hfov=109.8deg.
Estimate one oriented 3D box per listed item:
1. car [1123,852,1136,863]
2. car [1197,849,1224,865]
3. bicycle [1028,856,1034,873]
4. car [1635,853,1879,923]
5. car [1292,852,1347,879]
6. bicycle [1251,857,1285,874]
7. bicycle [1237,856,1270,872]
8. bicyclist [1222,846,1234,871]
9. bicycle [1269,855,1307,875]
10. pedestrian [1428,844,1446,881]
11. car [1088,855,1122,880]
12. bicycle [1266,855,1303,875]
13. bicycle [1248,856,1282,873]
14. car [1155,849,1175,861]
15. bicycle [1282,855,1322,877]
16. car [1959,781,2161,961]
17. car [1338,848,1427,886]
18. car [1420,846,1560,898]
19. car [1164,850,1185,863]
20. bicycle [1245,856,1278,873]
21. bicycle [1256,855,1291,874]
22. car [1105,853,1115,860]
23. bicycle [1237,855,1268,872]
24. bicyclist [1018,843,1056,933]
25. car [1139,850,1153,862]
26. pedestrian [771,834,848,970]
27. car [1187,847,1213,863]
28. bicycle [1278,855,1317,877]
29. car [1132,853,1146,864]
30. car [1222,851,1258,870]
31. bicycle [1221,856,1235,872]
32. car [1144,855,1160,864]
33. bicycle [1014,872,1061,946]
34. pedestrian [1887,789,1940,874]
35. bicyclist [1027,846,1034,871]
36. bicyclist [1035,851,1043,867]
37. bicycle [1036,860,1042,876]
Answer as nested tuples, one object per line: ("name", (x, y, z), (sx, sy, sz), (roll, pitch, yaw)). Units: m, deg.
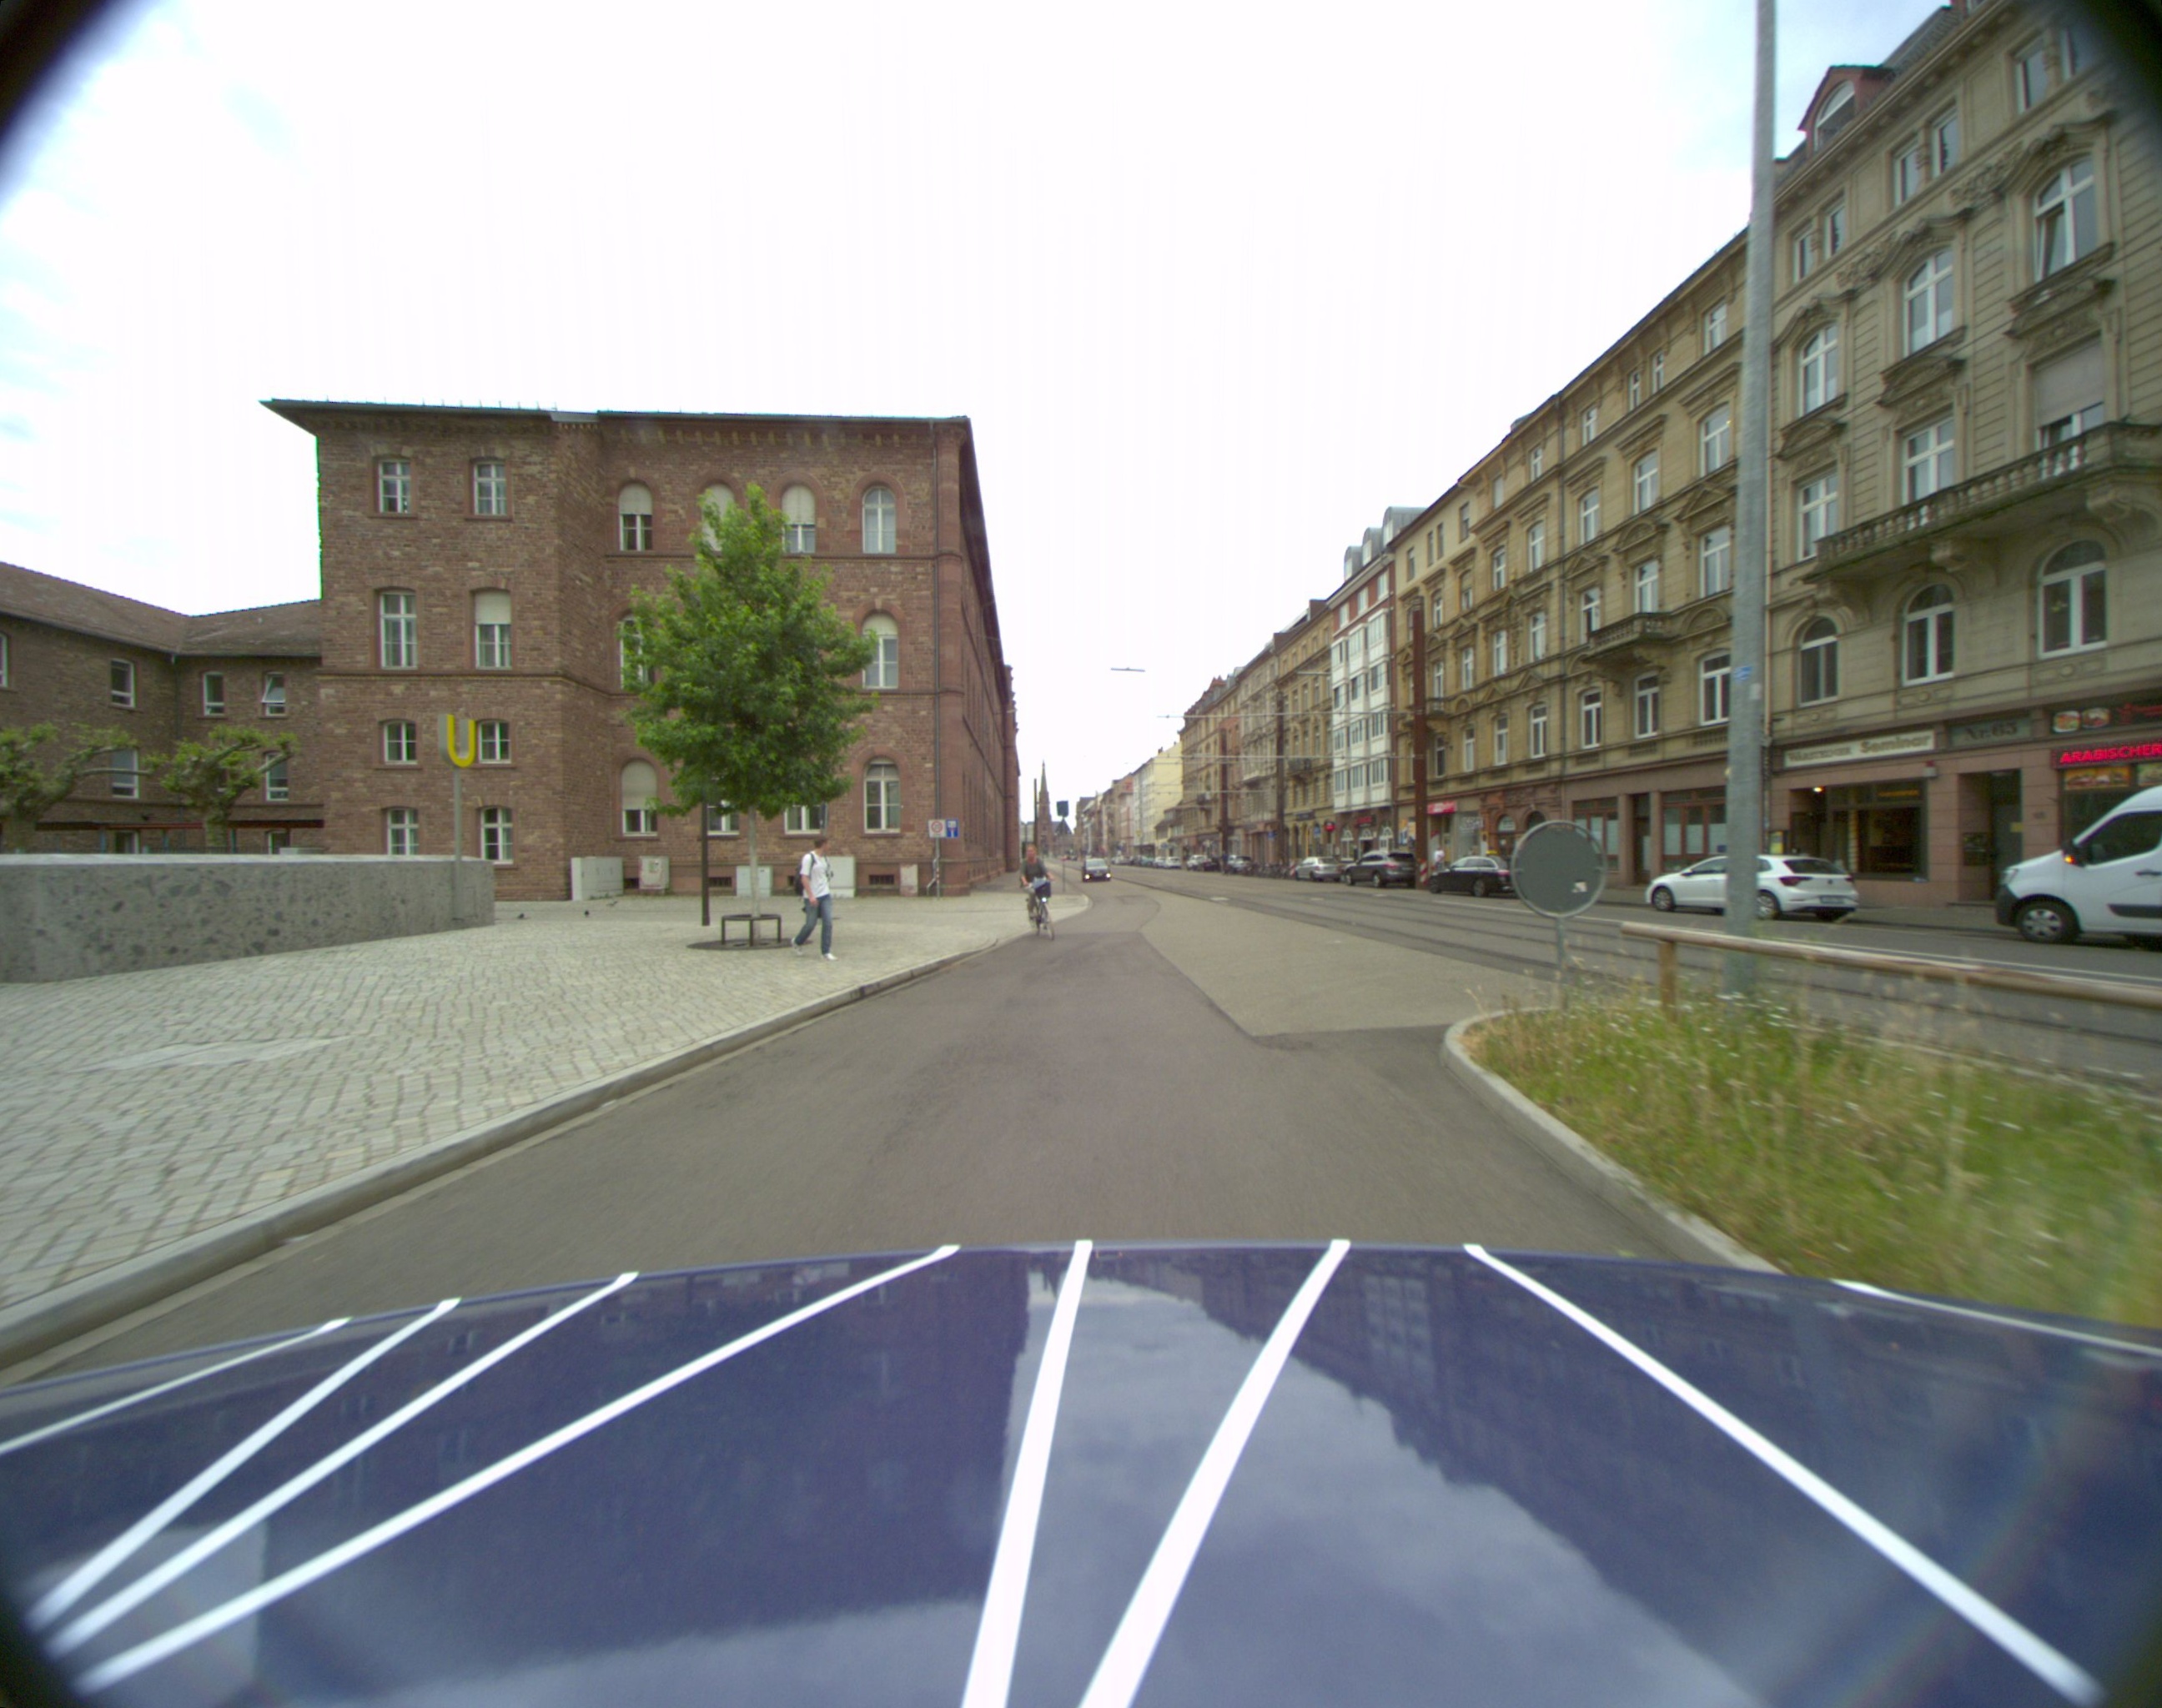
("car", (8.723, 0.616, 136.812), (1.929, 1.722, 3.825), (-2, 1, -4))
("car", (12.306, 0.299, 72.480), (1.748, 1.479, 3.919), (0, 0, -3))
("bicycle", (-3.788, 0.771, 57.693), (0.446, 1.269, 2.226), (1, 0, -4))
("car", (15.537, 0.704, 17.816), (1.776, 1.414, 4.163), (1, 0, -5))
("car", (13.831, 0.640, 44.259), (1.749, 1.479, 3.918), (0, 0, -4))
("bicycle", (13.494, 0.805, 54.794), (2.288, 1.196, 0.666), (1, 1, -3))
("bicycle", (13.049, 0.767, 57.560), (2.288, 1.196, 0.704), (1, 1, -3))
("bicyclist", (11.163, 0.350, 57.689), (0.647, 1.872, 1.028), (-2, 1, -2))
("bicycle", (13.615, 0.721, 49.888), (2.288, 1.321, 0.666), (1, 1, -3))
("pedestrian", (17.712, 0.421, 37.782), (0.653, 1.772, 0.787), (-1, 1, 33))
("car", (1.543, 0.845, 49.499), (1.748, 1.538, 3.648), (-1, 0, -5))
("bicycle", (13.576, 0.726, 50.716), (2.288, 1.321, 0.666), (1, 1, -3))
("bicycle", (13.448, 0.771, 55.506), (2.288, 1.196, 0.666), (1, 1, -3))
("car", (10.597, 0.121, 96.271), (1.829, 1.512, 4.544), (0, 0, -3))
("bicycle", (13.738, 0.729, 47.260), (2.288, 1.321, 0.666), (1, 1, -3))
("car", (15.951, 0.255, 9.939), (2.059, 2.472, 5.663), (1, 0, -5))
("car", (14.191, 0.567, 36.134), (1.819, 1.680, 5.028), (0, 0, -6))
("car", (14.474, 0.580, 27.302), (1.925, 1.679, 5.049), (1, 0, -5))
("car", (11.267, 0.296, 91.539), (1.749, 1.456, 4.044), (0, 0, -4))
("bicycle", (13.356, 0.784, 56.278), (2.288, 1.196, 0.704), (1, 1, -3))
("bicycle", (13.576, 0.748, 53.544), (2.288, 1.321, 0.666), (1, 1, -3))
("car", (6.346, 0.537, 167.645), (1.868, 1.553, 3.998), (1, 0, -3))
("bicycle", (13.146, 0.716, 58.251), (2.288, 1.196, 0.547), (-1, 1, -3))
("bicyclist", (-0.858, 0.633, 14.598), (0.571, 1.674, 0.792), (-1, 1, -13))
("car", (9.853, 0.251, 115.896), (1.707, 1.747, 3.918), (0, 0, -2))
("pedestrian", (-3.915, 0.676, 11.005), (0.872, 1.890, 0.772), (0, 0, -5))
("car", (12.090, 0.108, 77.201), (1.749, 1.662, 4.044), (0, 0, -4))
("bicycle", (13.647, 0.746, 47.978), (2.288, 1.321, 0.521), (1, 1, -3))
("car", (9.572, 0.676, 125.799), (1.705, 1.662, 4.179), (-2, 0, -2))
("car", (12.950, 0.509, 62.104), (1.749, 1.524, 4.224), (0, 0, -4))
("bicycle", (11.186, 0.726, 57.757), (0.586, 1.167, 2.044), (1, 0, -2))
("car", (10.352, 0.810, 111.244), (1.652, 1.373, 3.434), (0, 0, -7))
("bicycle", (-0.864, 1.016, 14.610), (0.525, 1.253, 1.938), (-1, 1, -14))
("pedestrian", (20.038, -0.531, 18.285), (0.710, 2.002, 0.746), (-3, 1, -34))
("bicyclist", (-3.787, 0.335, 57.457), (0.530, 1.847, 0.450), (0, 1, -4))
("bicyclist", (-3.151, 0.377, 56.697), (0.587, 1.164, 0.662), (-1, 1, -4))
("bicycle", (-3.127, 1.041, 56.603), (0.472, 1.152, 2.272), (-1, 1, -4))
